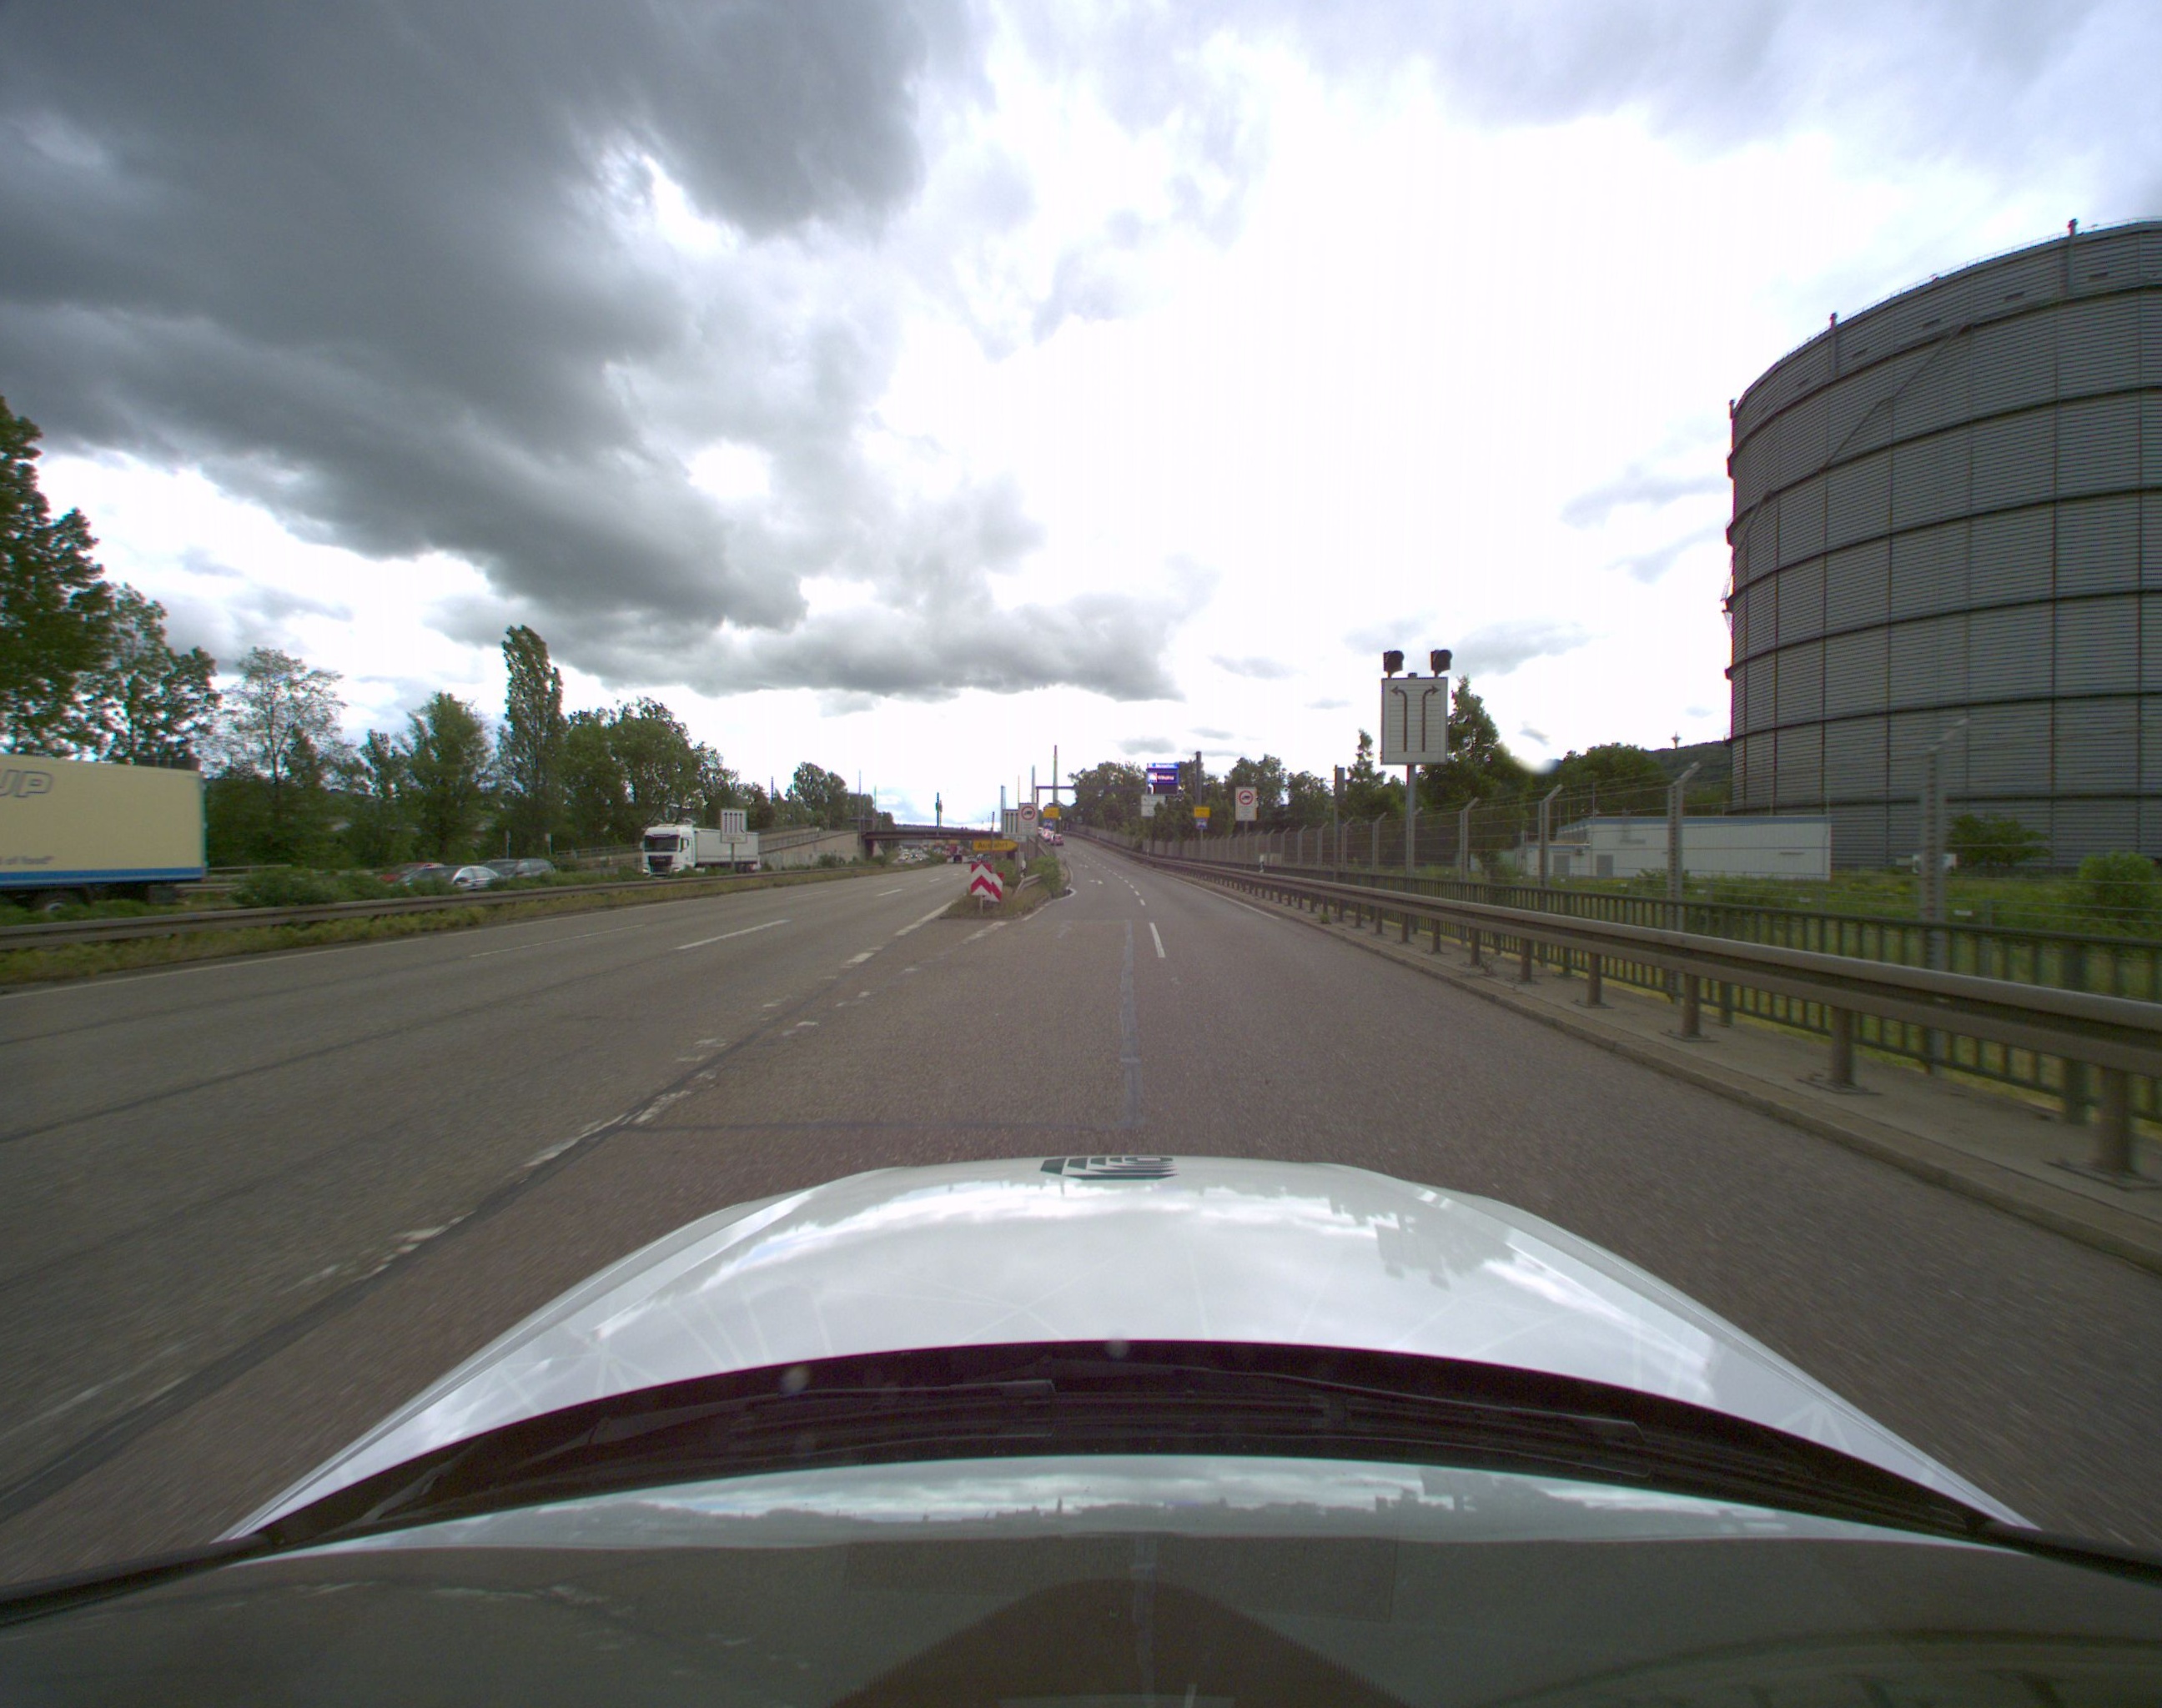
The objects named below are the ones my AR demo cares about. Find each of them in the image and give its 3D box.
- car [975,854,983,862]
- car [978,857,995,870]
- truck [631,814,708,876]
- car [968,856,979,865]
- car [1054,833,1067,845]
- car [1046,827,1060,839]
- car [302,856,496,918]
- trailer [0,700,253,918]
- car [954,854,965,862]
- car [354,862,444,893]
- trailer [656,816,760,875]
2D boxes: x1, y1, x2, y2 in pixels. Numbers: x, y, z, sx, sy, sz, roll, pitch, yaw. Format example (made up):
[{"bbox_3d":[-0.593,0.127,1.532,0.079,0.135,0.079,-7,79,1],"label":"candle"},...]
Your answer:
[{"bbox_3d":[-25.554,0.935,203.489,1.917,2.013,3.990,2,0,-8],"label":"car"},{"bbox_3d":[-11.829,1.148,101.916,1.993,1.420,3.988,1,1,-9],"label":"car"},{"bbox_3d":[-27.563,-0.568,54.822,2.785,3.937,5.303,1,0,-5],"label":"truck"},{"bbox_3d":[-22.052,1.360,167.367,1.989,1.683,3.996,1,1,-3],"label":"car"},{"bbox_3d":[-2.920,-2.167,117.292,1.745,1.580,4.083,2,0,-1],"label":"car"},{"bbox_3d":[-4.458,-3.342,128.480,1.991,1.602,3.994,-1,4,-6],"label":"car"},{"bbox_3d":[-18.732,0.849,22.662,1.987,1.454,4.000,-1,1,0],"label":"car"},{"bbox_3d":[-24.712,-0.949,15.569,3.456,4.672,14.763,0,1,-4],"label":"trailer"},{"bbox_3d":[-26.902,0.939,180.324,1.989,1.683,3.996,1,1,-3],"label":"car"},{"bbox_3d":[-34.405,1.168,41.217,1.649,1.361,3.610,-1,1,-5],"label":"car"},{"bbox_3d":[-28.218,-0.614,62.489,2.785,3.949,13.489,1,0,-5],"label":"trailer"}]
